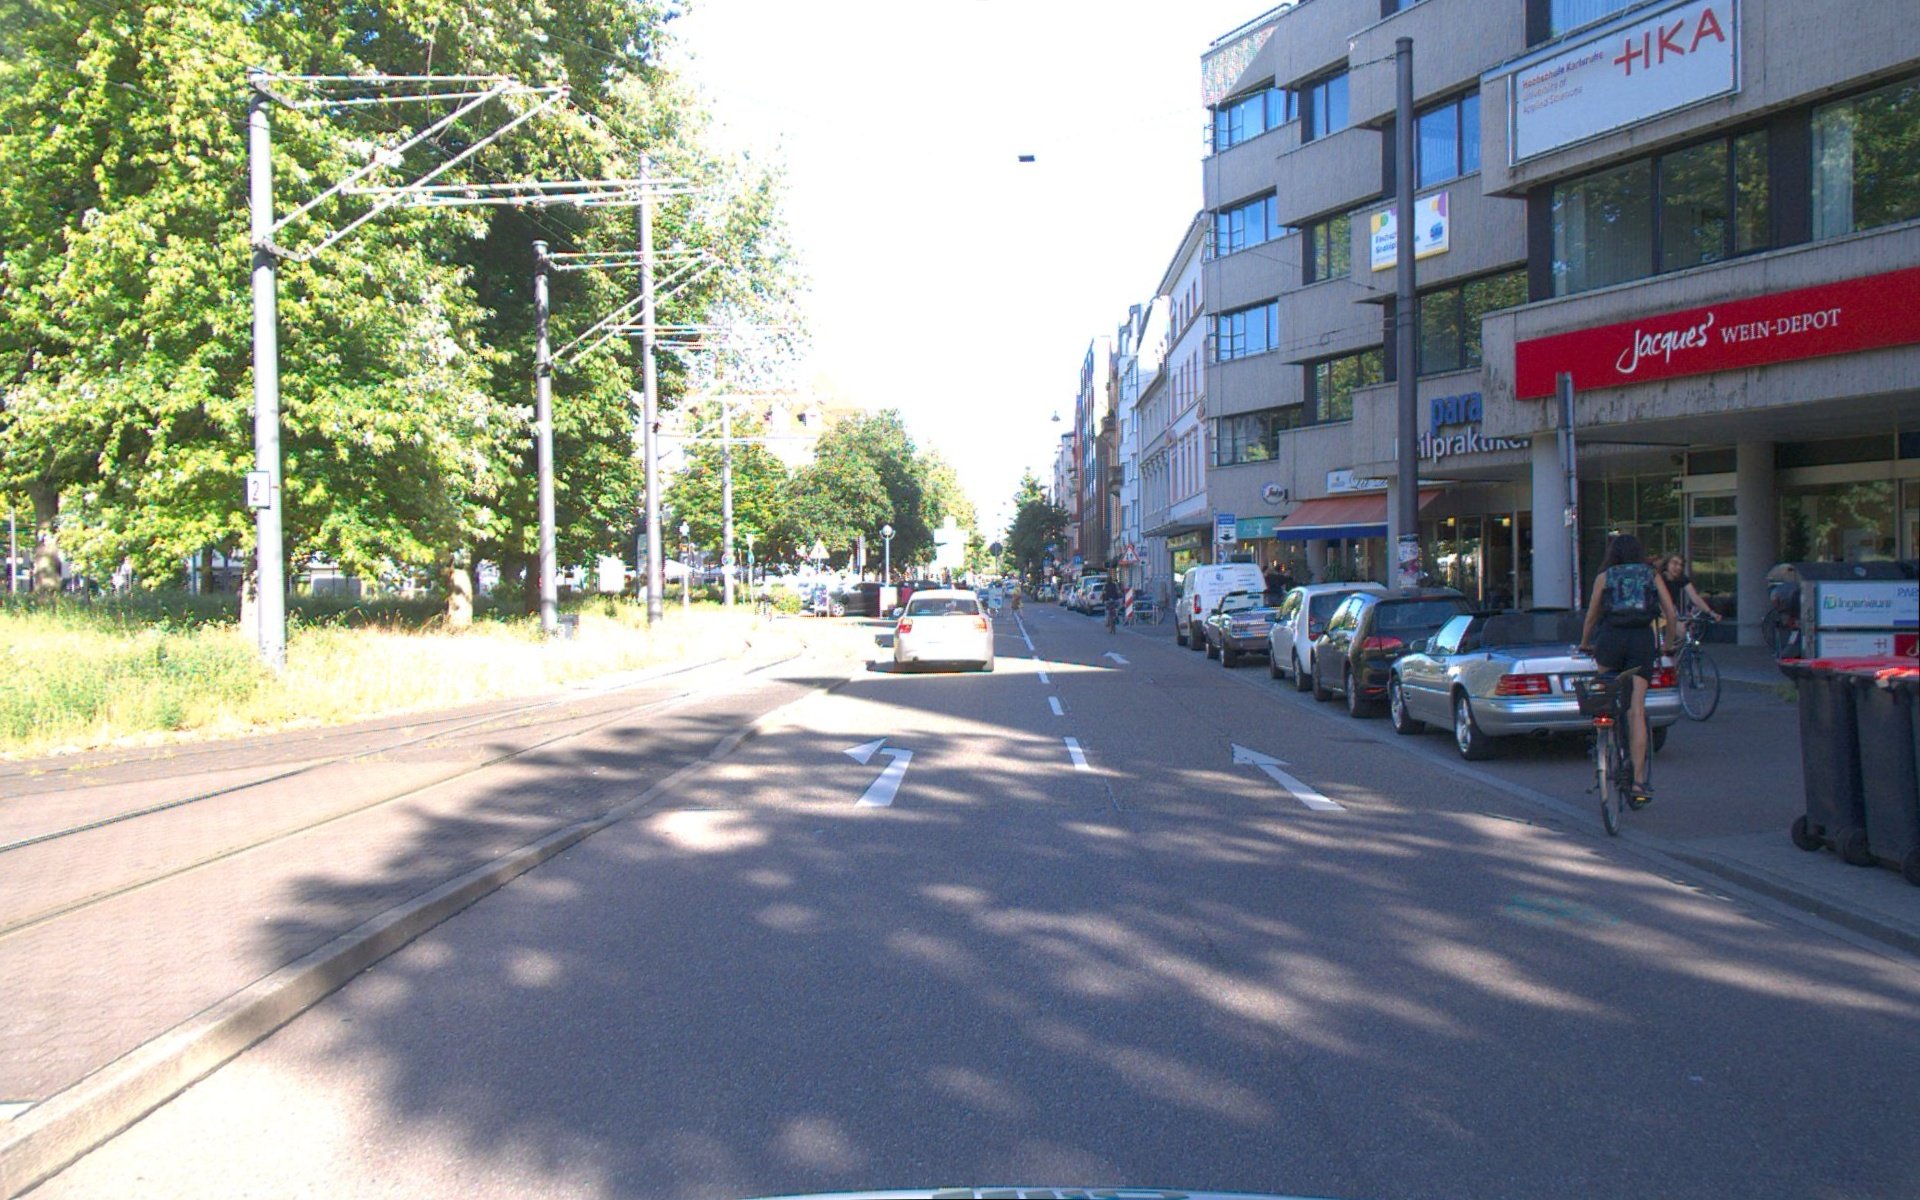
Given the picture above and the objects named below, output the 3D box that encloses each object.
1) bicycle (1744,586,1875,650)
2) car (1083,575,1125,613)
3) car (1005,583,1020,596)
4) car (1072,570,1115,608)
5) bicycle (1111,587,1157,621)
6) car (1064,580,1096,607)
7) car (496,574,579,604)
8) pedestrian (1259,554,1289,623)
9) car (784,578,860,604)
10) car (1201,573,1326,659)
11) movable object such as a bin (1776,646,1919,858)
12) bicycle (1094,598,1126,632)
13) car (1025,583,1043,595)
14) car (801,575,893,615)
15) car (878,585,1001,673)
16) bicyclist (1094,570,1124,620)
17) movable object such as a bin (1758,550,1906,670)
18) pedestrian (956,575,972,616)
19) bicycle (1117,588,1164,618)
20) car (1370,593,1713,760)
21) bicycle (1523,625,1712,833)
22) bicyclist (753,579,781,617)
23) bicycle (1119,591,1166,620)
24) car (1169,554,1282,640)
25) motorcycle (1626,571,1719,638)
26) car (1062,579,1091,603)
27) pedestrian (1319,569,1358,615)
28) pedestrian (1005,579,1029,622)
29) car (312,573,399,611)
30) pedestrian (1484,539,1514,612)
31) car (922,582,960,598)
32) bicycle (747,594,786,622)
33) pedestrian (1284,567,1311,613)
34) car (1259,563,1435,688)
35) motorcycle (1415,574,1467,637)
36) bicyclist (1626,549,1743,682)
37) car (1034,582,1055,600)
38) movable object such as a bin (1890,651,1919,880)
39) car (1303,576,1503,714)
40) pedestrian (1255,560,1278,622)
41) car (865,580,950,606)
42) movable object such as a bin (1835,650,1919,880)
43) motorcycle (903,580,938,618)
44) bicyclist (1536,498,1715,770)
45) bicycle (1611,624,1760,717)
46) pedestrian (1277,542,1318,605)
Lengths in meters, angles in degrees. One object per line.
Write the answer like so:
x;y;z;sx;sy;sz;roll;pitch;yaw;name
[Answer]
13.840;0.278;26.961;1.820;0.998;0.679;1;1;36;bicycle
7.023;-0.274;81.300;1.709;1.769;4.961;1;-1;1;car
6.679;-1.341;209.113;1.831;1.583;4.001;1;-1;2;car
7.378;-0.606;91.620;1.953;2.040;5.117;-1;1;0;car
6.532;0.159;61.942;1.588;1.265;0.659;0;-1;21;bicycle
7.304;-0.376;101.250;1.683;1.541;3.583;-3;-1;1;car
-30.121;-0.785;117.936;5.505;2.049;1.803;1;-1;-26;car
8.788;-0.326;46.299;0.656;1.888;0.611;-3;-1;4;pedestrian
-10.135;-0.632;121.468;5.198;1.831;2.146;1;-1;-26;car
5.626;0.297;31.158;1.737;1.479;4.732;1;-1;3;car
4.915;0.815;9.067;0.580;1.102;0.604;1;-1;-2;movable object such as a bin
4.461;0.453;49.434;0.639;0.975;2.697;1;-1;-2;bicycle
8.730;-1.294;195.963;1.952;1.478;4.000;0;0;1;car
-5.045;-0.222;74.223;3.834;1.711;1.786;-1;0;-40;car
-0.289;0.503;29.808;1.952;1.448;4.198;1;-1;3;car
4.452;-0.145;49.478;0.770;1.478;1.095;1;-1;-2;bicyclist
10.709;0.125;20.366;1.307;1.422;1.122;1;-1;9;movable object such as a bin
0.171;-0.197;68.952;0.623;1.701;0.693;0;-1;2;pedestrian
6.552;0.119;60.074;1.644;1.081;0.344;1;-1;17;bicycle
5.407;0.654;16.057;1.813;1.367;4.600;1;-1;1;car
4.316;0.775;10.772;0.805;1.206;1.959;0;-1;32;bicycle
-7.911;-0.082;67.762;0.917;1.534;0.819;1;-1;-26;bicyclist
6.673;0.197;60.437;1.667;1.022;0.428;1;-1;17;bicycle
6.003;-0.044;37.813;1.952;1.844;4.310;1;-1;1;car
13.292;0.063;30.915;0.502;1.188;2.096;1;1;-10;motorcycle
8.582;-0.648;122.448;1.860;1.704;4.825;1;-1;1;car
11.182;-0.244;48.910;0.826;1.314;0.829;-2;0;-11;pedestrian
2.307;0.012;66.950;0.660;1.729;0.797;1;-1;-29;pedestrian
-39.553;-0.504;108.291;5.262;2.354;1.987;1;-1;-22;car
13.666;-0.615;41.928;0.688;1.848;0.717;0;-1;17;pedestrian
-1.967;-1.035;172.393;3.904;1.534;1.895;1;0;2;car
-7.934;0.327;67.801;0.800;1.087;2.562;1;-1;-25;bicycle
9.462;-0.278;46.368;0.616;1.258;0.625;-2;-1;4;pedestrian
5.744;0.367;24.997;1.813;1.718;3.867;1;-1;1;car
9.573;0.124;32.996;0.747;1.175;2.049;-3;-1;11;motorcycle
7.618;0.166;17.432;0.743;1.349;0.993;1;-1;-5;bicyclist
8.359;-0.877;163.651;1.952;1.646;4.012;1;-1;4;car
4.897;0.798;7.906;0.592;1.087;0.545;1;-1;-2;movable object such as a bin
5.443;0.525;20.803;1.636;1.545;4.201;1;-1;4;car
8.732;-0.248;47.097;0.571;1.744;0.698;1;-1;4;pedestrian
-3.147;-0.403;99.312;4.768;1.514;1.753;1;-1;-23;car
4.923;0.830;8.474;0.598;1.125;0.525;1;-1;-2;movable object such as a bin
-1.475;-0.047;61.874;0.735;1.398;1.749;1;-1;-22;motorcycle
4.338;0.212;10.760;0.922;1.662;0.932;0;-1;33;bicyclist
7.626;0.716;17.487;0.524;0.907;2.068;1;-1;-5;bicycle
9.630;-0.758;47.221;0.831;1.740;0.713;-3;1;-27;pedestrian
